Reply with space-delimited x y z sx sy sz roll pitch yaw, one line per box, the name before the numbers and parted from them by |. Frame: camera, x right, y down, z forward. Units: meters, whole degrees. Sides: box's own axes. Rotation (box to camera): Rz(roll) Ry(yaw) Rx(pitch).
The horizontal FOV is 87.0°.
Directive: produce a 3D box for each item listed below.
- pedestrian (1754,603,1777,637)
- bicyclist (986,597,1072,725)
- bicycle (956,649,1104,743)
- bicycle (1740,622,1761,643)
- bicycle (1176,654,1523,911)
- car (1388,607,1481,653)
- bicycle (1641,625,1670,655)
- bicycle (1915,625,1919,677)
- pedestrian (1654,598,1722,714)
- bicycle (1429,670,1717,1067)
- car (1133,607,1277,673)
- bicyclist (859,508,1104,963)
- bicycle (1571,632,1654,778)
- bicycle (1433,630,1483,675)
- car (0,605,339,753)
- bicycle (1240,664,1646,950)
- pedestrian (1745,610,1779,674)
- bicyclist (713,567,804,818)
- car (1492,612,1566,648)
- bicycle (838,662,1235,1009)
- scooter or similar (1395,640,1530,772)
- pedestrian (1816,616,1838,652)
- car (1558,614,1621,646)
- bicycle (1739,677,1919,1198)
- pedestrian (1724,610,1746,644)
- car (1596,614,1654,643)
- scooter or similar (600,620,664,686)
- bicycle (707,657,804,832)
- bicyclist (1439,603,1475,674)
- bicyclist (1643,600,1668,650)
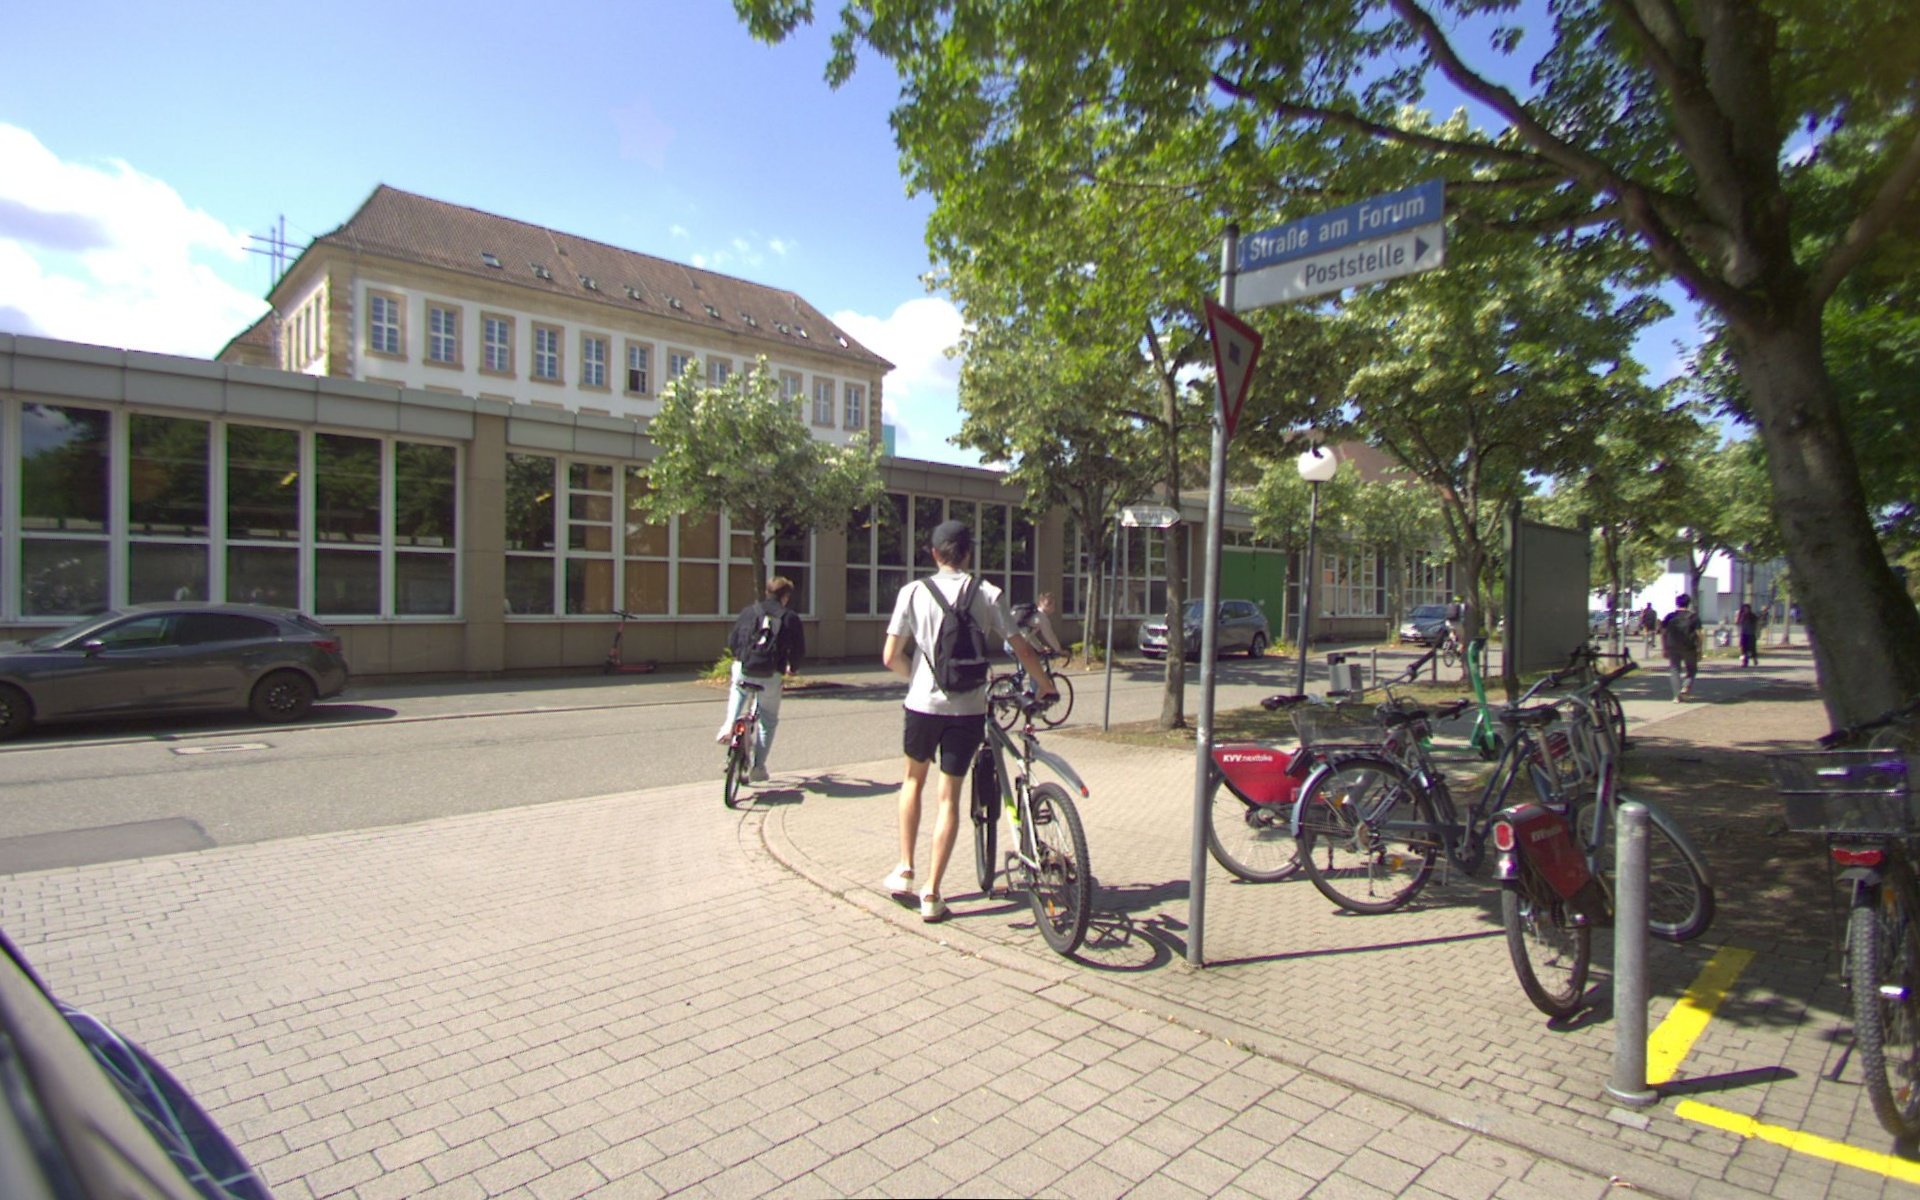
pedestrian | 43.730 1.078 54.964 0.765 1.788 0.900 0 0 24
bicyclist | 0.880 0.768 13.054 0.860 1.585 0.643 1 0 -24
bicycle | 0.905 1.214 13.082 1.788 1.116 0.643 1 0 -24
bicycle | 43.170 1.772 55.297 0.471 1.091 1.686 0 1 24
bicycle | 2.030 0.894 5.332 1.602 1.168 0.641 -1 -2 -15
car | 18.069 1.110 38.468 1.839 1.646 4.472 -1 -1 45
bicycle | 26.713 1.520 38.862 0.670 1.116 2.044 -1 -2 41
bicycle | 21.641 1.107 21.400 2.021 1.116 0.498 0 1 28
pedestrian | 11.082 0.828 15.397 0.728 1.697 0.861 -1 -1 43
bicycle | 2.355 0.861 3.804 1.605 1.116 0.497 0 -2 -44
car | 6.849 1.038 28.013 1.839 1.629 4.472 2 1 45
bicyclist | 0.089 0.554 4.811 0.792 1.906 0.870 -1 1 -34
bicycle | 5.853 0.878 9.046 0.393 1.116 1.815 1 1 40
bicycle | 13.084 1.350 26.549 0.605 1.116 2.043 -1 -2 43
car | -9.959 0.848 12.031 4.148 1.487 1.655 0 2 -44
bicycle | 2.238 0.888 4.717 1.716 1.116 0.592 -1 -2 -16
pedestrian | 19.896 1.029 25.107 0.571 1.531 0.828 0 0 44
bicyclist | -1.605 0.704 8.181 0.664 1.902 0.971 0 0 -8
car | 26.036 1.343 46.222 1.839 1.553 4.472 -1 -1 45
bicycle | 0.236 0.900 4.628 0.792 1.181 1.891 1 -2 -34
scooter or similar | 4.712 0.980 9.498 1.167 1.204 0.293 0 -1 -8
pedestrian | 36.910 1.439 43.078 0.725 1.531 0.623 0 0 -41
car | 32.350 1.518 51.961 1.839 1.553 4.472 -1 -1 45
bicycle | 2.751 0.828 2.944 1.605 1.116 0.497 0 -2 -44
pedestrian | 42.512 1.468 55.533 0.765 1.788 0.900 0 0 24
car | 36.773 1.537 55.929 1.839 1.553 4.472 -1 -1 45
scooter or similar | -6.283 1.004 19.399 1.140 1.235 0.290 1 -1 -40
bicycle | -1.605 1.081 8.177 0.664 1.149 1.890 0 0 -9
bicyclist | 12.994 1.004 26.461 0.605 1.815 0.886 -2 -2 43
bicyclist | 26.716 0.967 38.866 0.670 1.889 0.816 -1 -2 41
